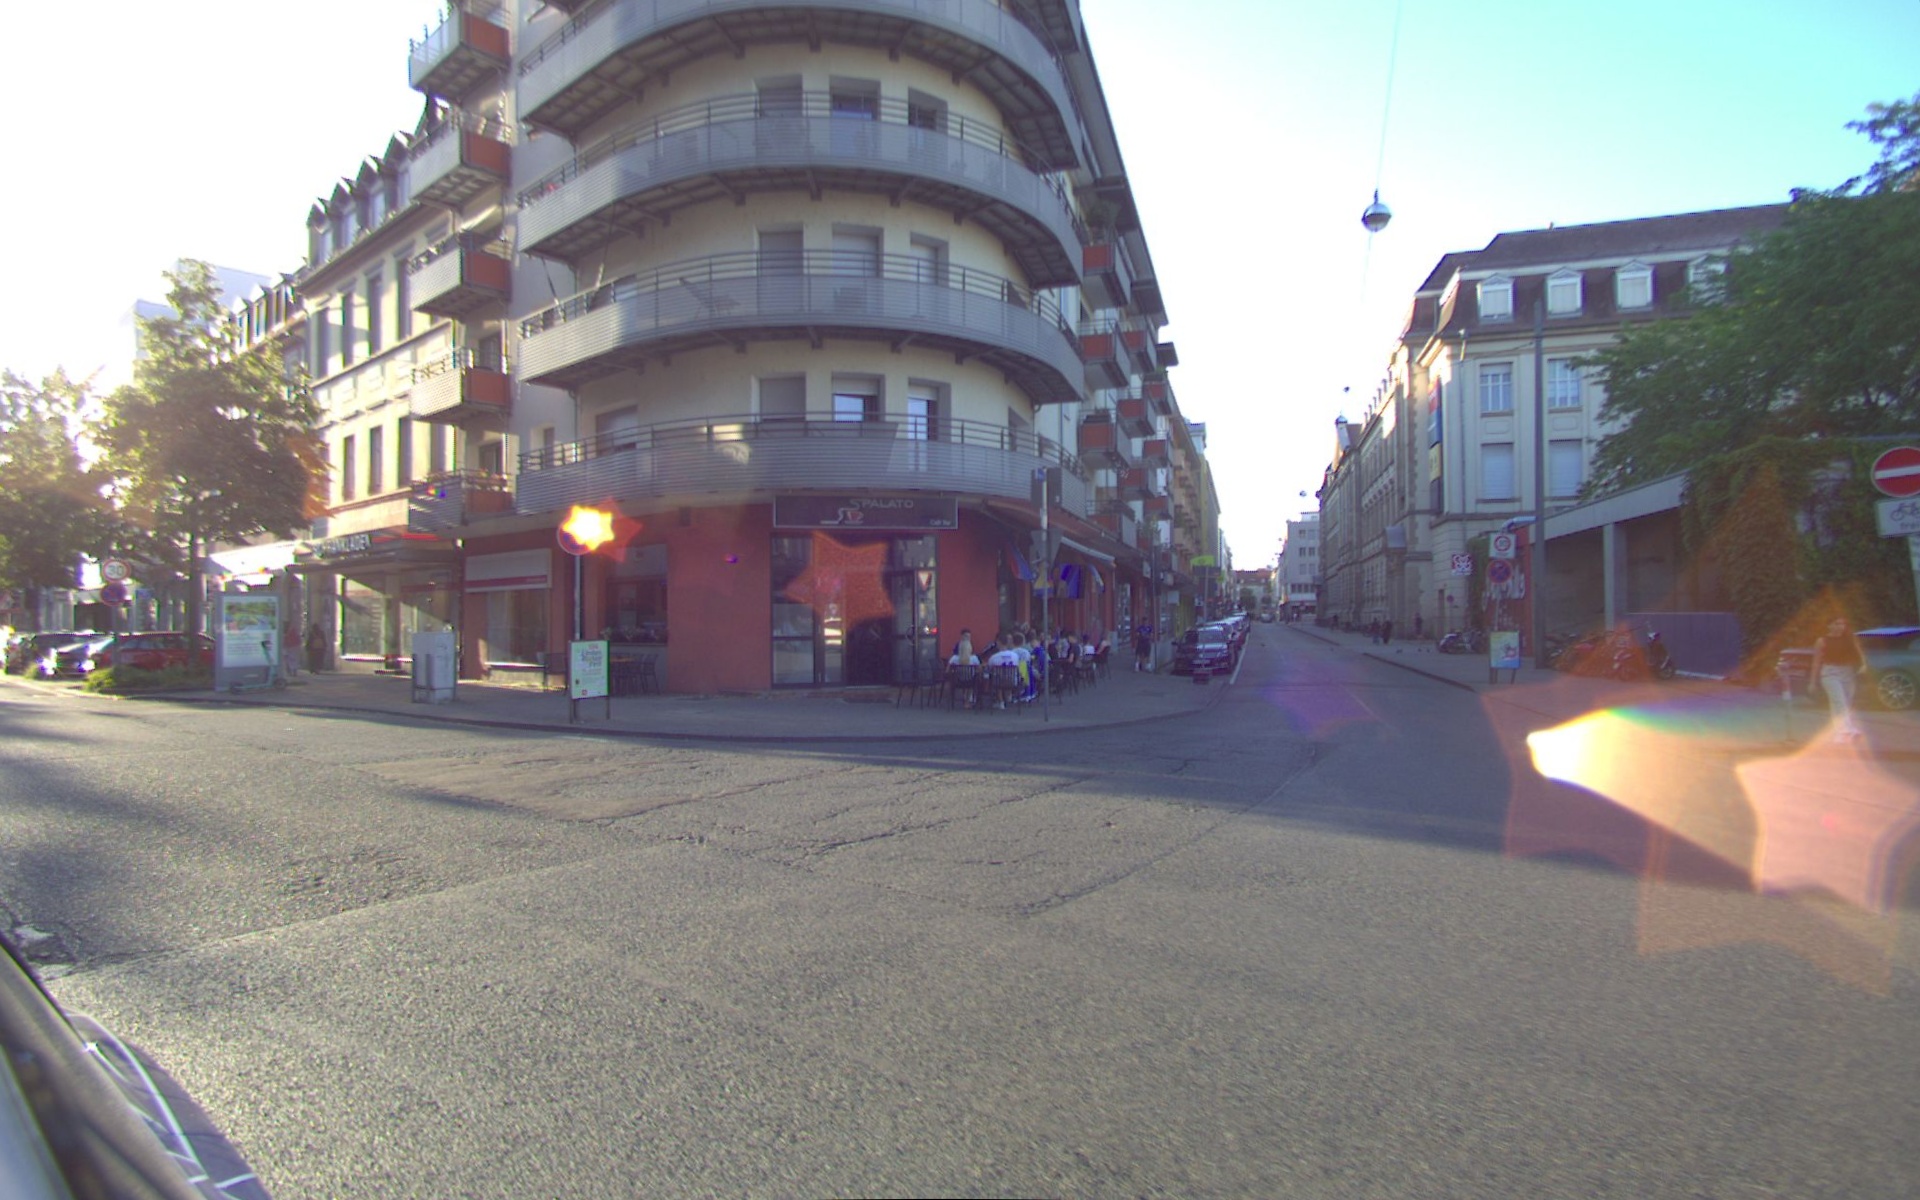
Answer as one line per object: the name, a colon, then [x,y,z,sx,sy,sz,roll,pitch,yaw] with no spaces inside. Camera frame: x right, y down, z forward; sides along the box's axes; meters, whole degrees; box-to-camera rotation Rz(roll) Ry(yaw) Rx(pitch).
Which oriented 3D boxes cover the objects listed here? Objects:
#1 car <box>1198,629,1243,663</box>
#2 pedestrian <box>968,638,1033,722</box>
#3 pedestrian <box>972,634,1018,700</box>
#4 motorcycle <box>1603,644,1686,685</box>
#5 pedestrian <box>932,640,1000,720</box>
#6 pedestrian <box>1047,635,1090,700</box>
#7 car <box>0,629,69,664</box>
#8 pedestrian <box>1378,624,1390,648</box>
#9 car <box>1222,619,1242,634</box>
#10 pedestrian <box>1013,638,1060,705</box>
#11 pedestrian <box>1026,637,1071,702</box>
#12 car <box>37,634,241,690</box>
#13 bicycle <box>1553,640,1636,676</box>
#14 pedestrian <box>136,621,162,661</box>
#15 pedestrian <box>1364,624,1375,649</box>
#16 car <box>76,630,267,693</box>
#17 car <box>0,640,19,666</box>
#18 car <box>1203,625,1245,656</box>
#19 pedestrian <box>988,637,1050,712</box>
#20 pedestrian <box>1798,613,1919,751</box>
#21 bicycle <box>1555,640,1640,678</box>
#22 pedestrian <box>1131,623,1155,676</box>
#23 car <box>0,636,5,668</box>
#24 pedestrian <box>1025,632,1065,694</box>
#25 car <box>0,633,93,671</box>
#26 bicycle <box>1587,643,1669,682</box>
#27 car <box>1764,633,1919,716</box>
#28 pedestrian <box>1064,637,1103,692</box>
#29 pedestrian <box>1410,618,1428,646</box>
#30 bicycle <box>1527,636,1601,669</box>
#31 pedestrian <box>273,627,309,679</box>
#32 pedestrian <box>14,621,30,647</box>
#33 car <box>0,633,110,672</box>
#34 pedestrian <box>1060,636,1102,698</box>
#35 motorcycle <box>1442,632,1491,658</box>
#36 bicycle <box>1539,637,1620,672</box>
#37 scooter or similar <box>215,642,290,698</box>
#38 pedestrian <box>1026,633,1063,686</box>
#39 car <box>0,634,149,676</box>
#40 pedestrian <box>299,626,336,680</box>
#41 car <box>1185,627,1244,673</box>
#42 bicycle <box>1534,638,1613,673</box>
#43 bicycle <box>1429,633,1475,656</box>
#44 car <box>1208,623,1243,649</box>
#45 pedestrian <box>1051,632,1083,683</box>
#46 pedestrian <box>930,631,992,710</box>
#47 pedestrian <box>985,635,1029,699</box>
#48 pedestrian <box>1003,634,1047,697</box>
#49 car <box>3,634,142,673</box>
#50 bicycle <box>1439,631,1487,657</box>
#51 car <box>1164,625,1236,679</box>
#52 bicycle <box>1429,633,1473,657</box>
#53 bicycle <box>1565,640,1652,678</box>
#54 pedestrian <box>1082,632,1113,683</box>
car: [12.883,2.241,49.902,1.954,1.608,3.977,-1,-2,17]
pedestrian: [0.665,1.275,16.449,0.746,1.283,0.820,0,-1,32]
pedestrian: [0.691,1.321,20.048,0.699,1.256,0.615,0,-1,31]
motorcycle: [16.224,1.515,23.987,1.774,0.887,0.512,-1,-2,-13]
pedestrian: [0.104,1.298,16.801,0.765,1.251,0.891,0,-1,32]
pedestrian: [2.255,1.393,21.058,0.699,1.297,0.615,0,-1,31]
car: [-47.208,2.338,50.110,1.888,1.608,4.362,-3,-1,39]
pedestrian: [24.535,2.090,58.554,0.513,1.407,0.397,-1,-2,13]
car: [29.098,2.839,108.137,1.954,1.608,3.977,-1,-2,17]
pedestrian: [1.476,1.369,19.606,0.699,1.256,0.615,0,-1,31]
pedestrian: [1.773,1.381,20.256,0.699,1.256,0.615,0,-1,31]
car: [-24.723,1.822,30.633,1.819,1.418,4.525,-2,-1,39]
bicycle: [17.012,1.556,27.146,1.785,0.930,0.509,-2,-2,10]
pedestrian: [-36.304,1.811,45.292,0.875,1.734,0.764,0,0,41]
pedestrian: [23.811,2.116,58.840,0.537,1.407,0.383,-1,-2,13]
car: [-22.591,1.710,29.100,1.883,1.548,4.031,-2,-1,40]
car: [-58.750,3.192,59.941,1.743,1.495,4.230,-2,-1,41]
car: [14.182,2.139,54.243,1.954,1.608,3.977,-1,-2,17]
pedestrian: [1.034,1.284,17.694,0.827,1.256,0.715,0,-1,34]
pedestrian: [10.819,0.964,12.182,0.760,1.579,0.896,-1,-2,15]
bicycle: [16.668,1.535,26.495,1.785,0.930,0.509,-2,-2,10]
pedestrian: [5.252,1.397,29.001,0.616,1.480,0.698,1,-1,14]
car: [-45.021,2.373,44.580,1.764,1.432,4.109,-2,-1,38]
pedestrian: [1.911,1.395,22.693,0.699,1.343,0.615,0,-1,31]
car: [-41.300,2.309,45.303,1.714,1.513,3.521,-2,-1,39]
bicycle: [16.424,1.533,24.884,1.775,0.887,0.512,-1,-2,-10]
car: [16.740,1.217,17.090,4.478,1.328,1.994,-1,-2,10]
pedestrian: [2.839,1.468,23.222,0.698,1.234,0.616,0,-1,27]
pedestrian: [26.458,1.825,58.357,0.837,1.610,0.729,-2,-2,29]
bicycle: [17.868,1.548,29.970,0.502,0.930,1.808,0,-2,-36]
pedestrian: [-20.695,1.611,31.308,0.875,1.539,0.726,0,0,41]
pedestrian: [-66.628,2.427,71.868,0.933,1.762,0.712,-2,0,41]
car: [-38.451,2.192,42.677,1.803,1.455,3.703,-2,-1,38]
pedestrian: [2.628,1.440,21.924,0.699,1.297,0.615,0,-1,31]
motorcycle: [21.599,1.913,43.159,1.791,1.087,0.507,-2,-2,20]
bicycle: [17.144,1.514,28.034,1.791,0.930,0.507,-2,-2,20]
scooter or similar: [-16.862,1.656,24.137,0.525,1.235,1.385,-2,-1,37]
pedestrian: [2.032,1.417,24.335,0.698,1.234,0.616,0,-1,27]
car: [-34.033,2.073,38.965,1.881,1.414,4.067,-2,-1,38]
pedestrian: [-20.217,1.644,31.840,0.875,1.620,0.764,0,0,41]
car: [9.685,1.858,38.291,1.954,1.608,3.977,-1,-2,17]
bicycle: [17.361,1.574,28.675,1.791,0.930,0.507,-2,-2,20]
bicycle: [22.251,2.022,45.815,1.794,1.016,0.506,-2,-2,25]
car: [16.973,2.265,64.552,1.954,1.608,3.977,-1,-2,17]
pedestrian: [2.787,1.479,26.295,0.696,1.297,0.618,0,-1,19]
pedestrian: [0.023,1.251,18.280,0.827,1.358,0.740,0,-1,34]
pedestrian: [0.964,1.362,20.719,0.699,1.256,0.615,0,-1,31]
pedestrian: [1.391,1.380,21.668,0.699,1.297,0.650,0,-1,31]
car: [-35.918,2.133,41.039,1.843,1.414,4.053,-2,-2,42]
bicycle: [21.777,1.898,43.866,1.793,1.087,0.507,-2,-2,23]
car: [7.742,1.624,32.393,1.954,1.608,3.977,-1,-2,17]
bicycle: [22.484,2.064,46.375,1.794,1.016,0.506,-2,-2,25]
bicycle: [16.553,1.504,25.856,1.783,0.930,0.510,-2,-2,7]
pedestrian: [3.583,1.482,26.344,0.696,1.297,0.618,0,-1,19]
